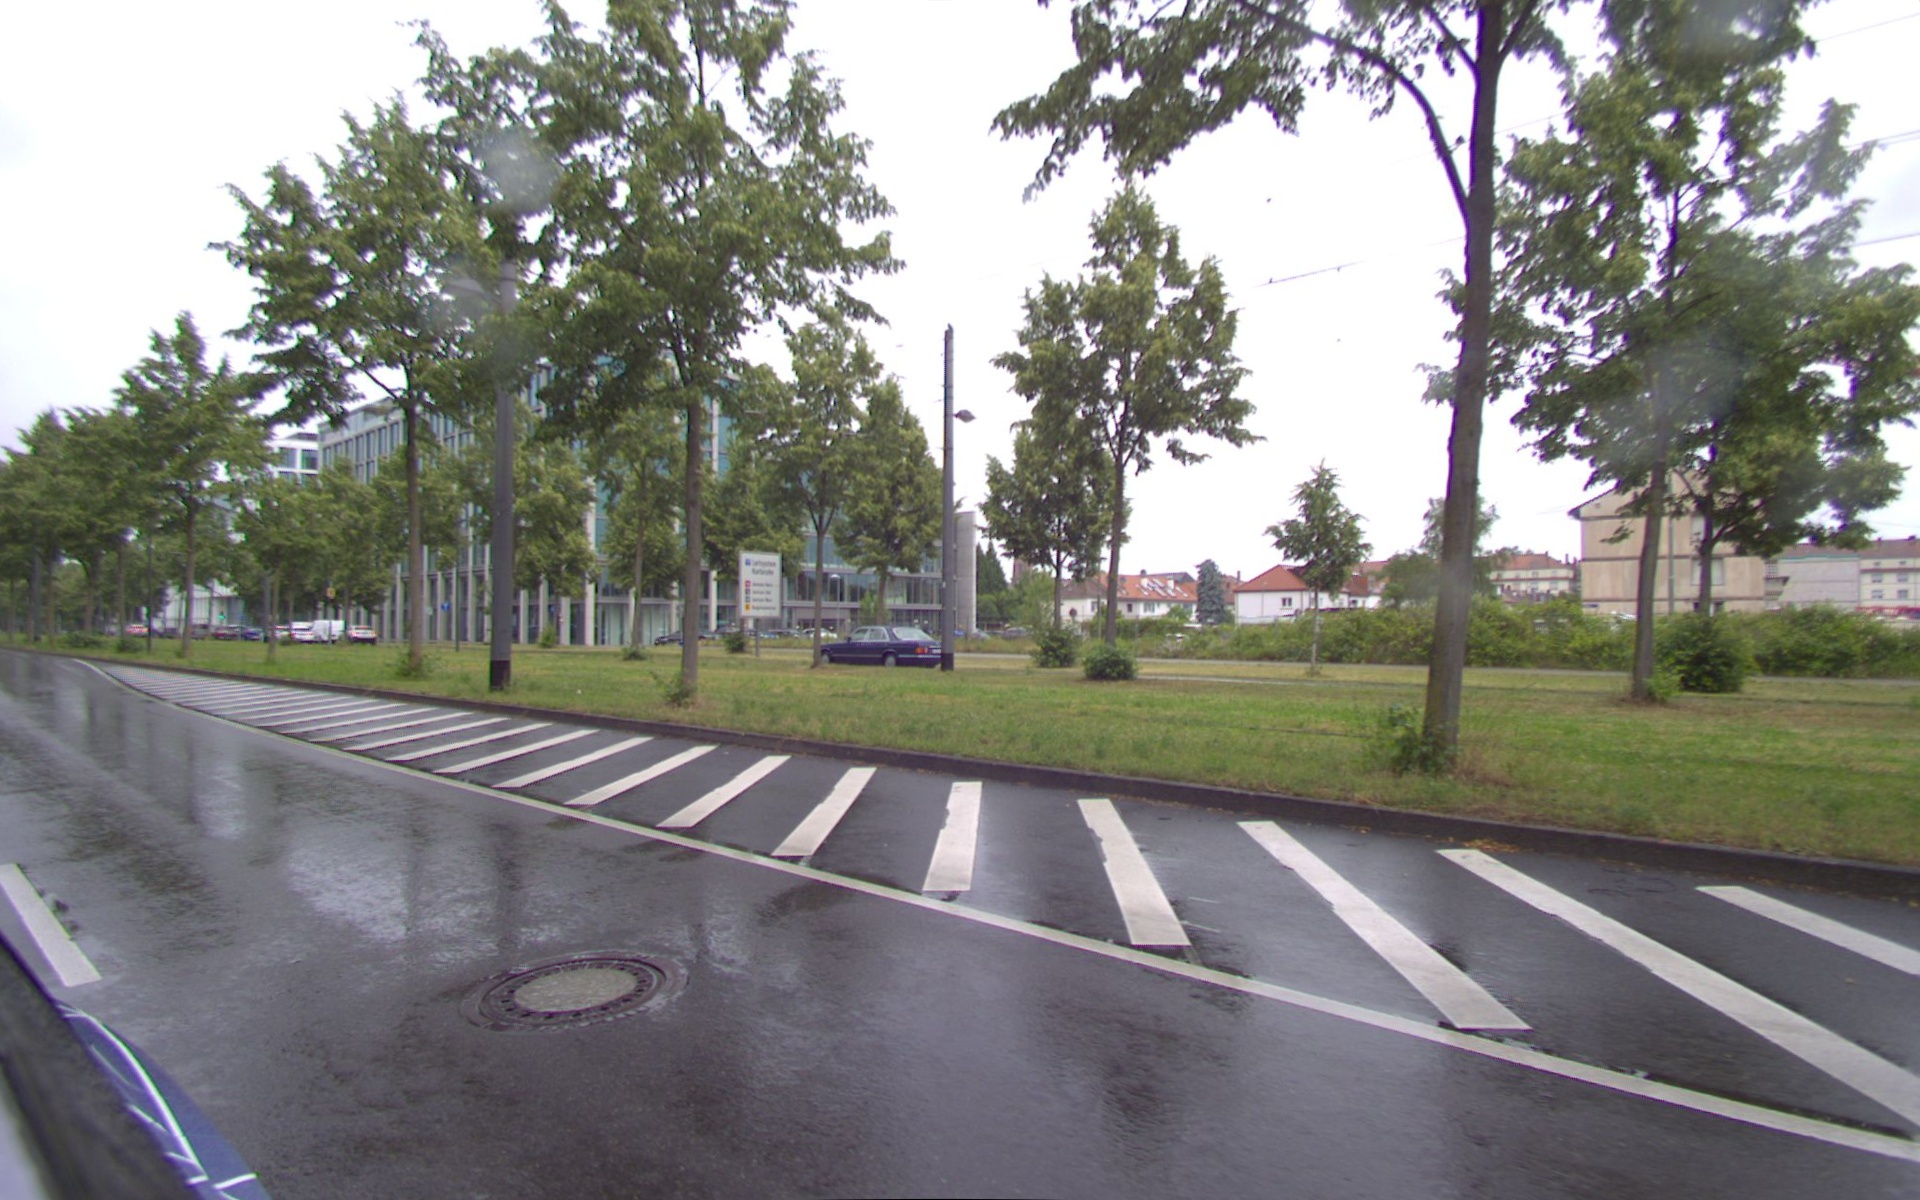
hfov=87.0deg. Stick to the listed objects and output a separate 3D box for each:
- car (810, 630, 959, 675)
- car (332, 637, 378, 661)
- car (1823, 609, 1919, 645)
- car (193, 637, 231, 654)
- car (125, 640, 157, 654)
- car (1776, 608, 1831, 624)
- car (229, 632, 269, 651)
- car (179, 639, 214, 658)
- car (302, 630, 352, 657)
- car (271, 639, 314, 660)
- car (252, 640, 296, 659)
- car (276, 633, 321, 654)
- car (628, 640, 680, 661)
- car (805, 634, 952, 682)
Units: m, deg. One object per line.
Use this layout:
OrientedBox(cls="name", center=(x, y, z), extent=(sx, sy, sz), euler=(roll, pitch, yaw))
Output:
OrientedBox(cls="car", center=(-2.388, 1.616, 30.962), extent=(4.847, 1.276, 1.533), euler=(-3, -4, 40))
OrientedBox(cls="car", center=(-46.891, 3.741, 78.395), extent=(4.578, 1.762, 1.928), euler=(-2, -2, 45))
OrientedBox(cls="car", center=(49.320, 1.402, 53.300), extent=(5.771, 1.685, 2.026), euler=(-5, -4, 40))
OrientedBox(cls="car", center=(-69.573, 4.236, 94.111), extent=(4.601, 1.396, 1.930), euler=(-5, -4, 41))
OrientedBox(cls="car", center=(-86.840, 4.964, 107.291), extent=(4.574, 1.463, 1.930), euler=(-2, -2, 41))
OrientedBox(cls="car", center=(72.178, 1.389, 86.660), extent=(3.248, 1.222, 1.471), euler=(-3, -4, 24))
OrientedBox(cls="car", center=(-62.413, 3.641, 88.823), extent=(3.958, 1.506, 1.931), euler=(-5, -4, 39))
OrientedBox(cls="car", center=(-76.293, 4.852, 101.125), extent=(4.541, 1.863, 1.930), euler=(-3, -4, 41))
OrientedBox(cls="car", center=(-52.635, 3.628, 84.091), extent=(5.372, 2.022, 2.243), euler=(-5, -4, 43))
OrientedBox(cls="car", center=(-52.688, 3.926, 79.800), extent=(1.928, 1.472, 4.833), euler=(1, -5, -45))
OrientedBox(cls="car", center=(-57.194, 4.121, 84.370), extent=(4.574, 1.525, 1.930), euler=(-2, -2, 41))
OrientedBox(cls="car", center=(-58.578, 3.816, 89.593), extent=(5.024, 1.664, 1.931), euler=(-5, -4, 39))
OrientedBox(cls="car", center=(-25.382, 4.198, 83.958), extent=(3.745, 1.621, 1.745), euler=(1, -5, -45))
OrientedBox(cls="car", center=(-2.588, 1.732, 31.144), extent=(4.974, 1.307, 1.472), euler=(-1, -2, 41))
